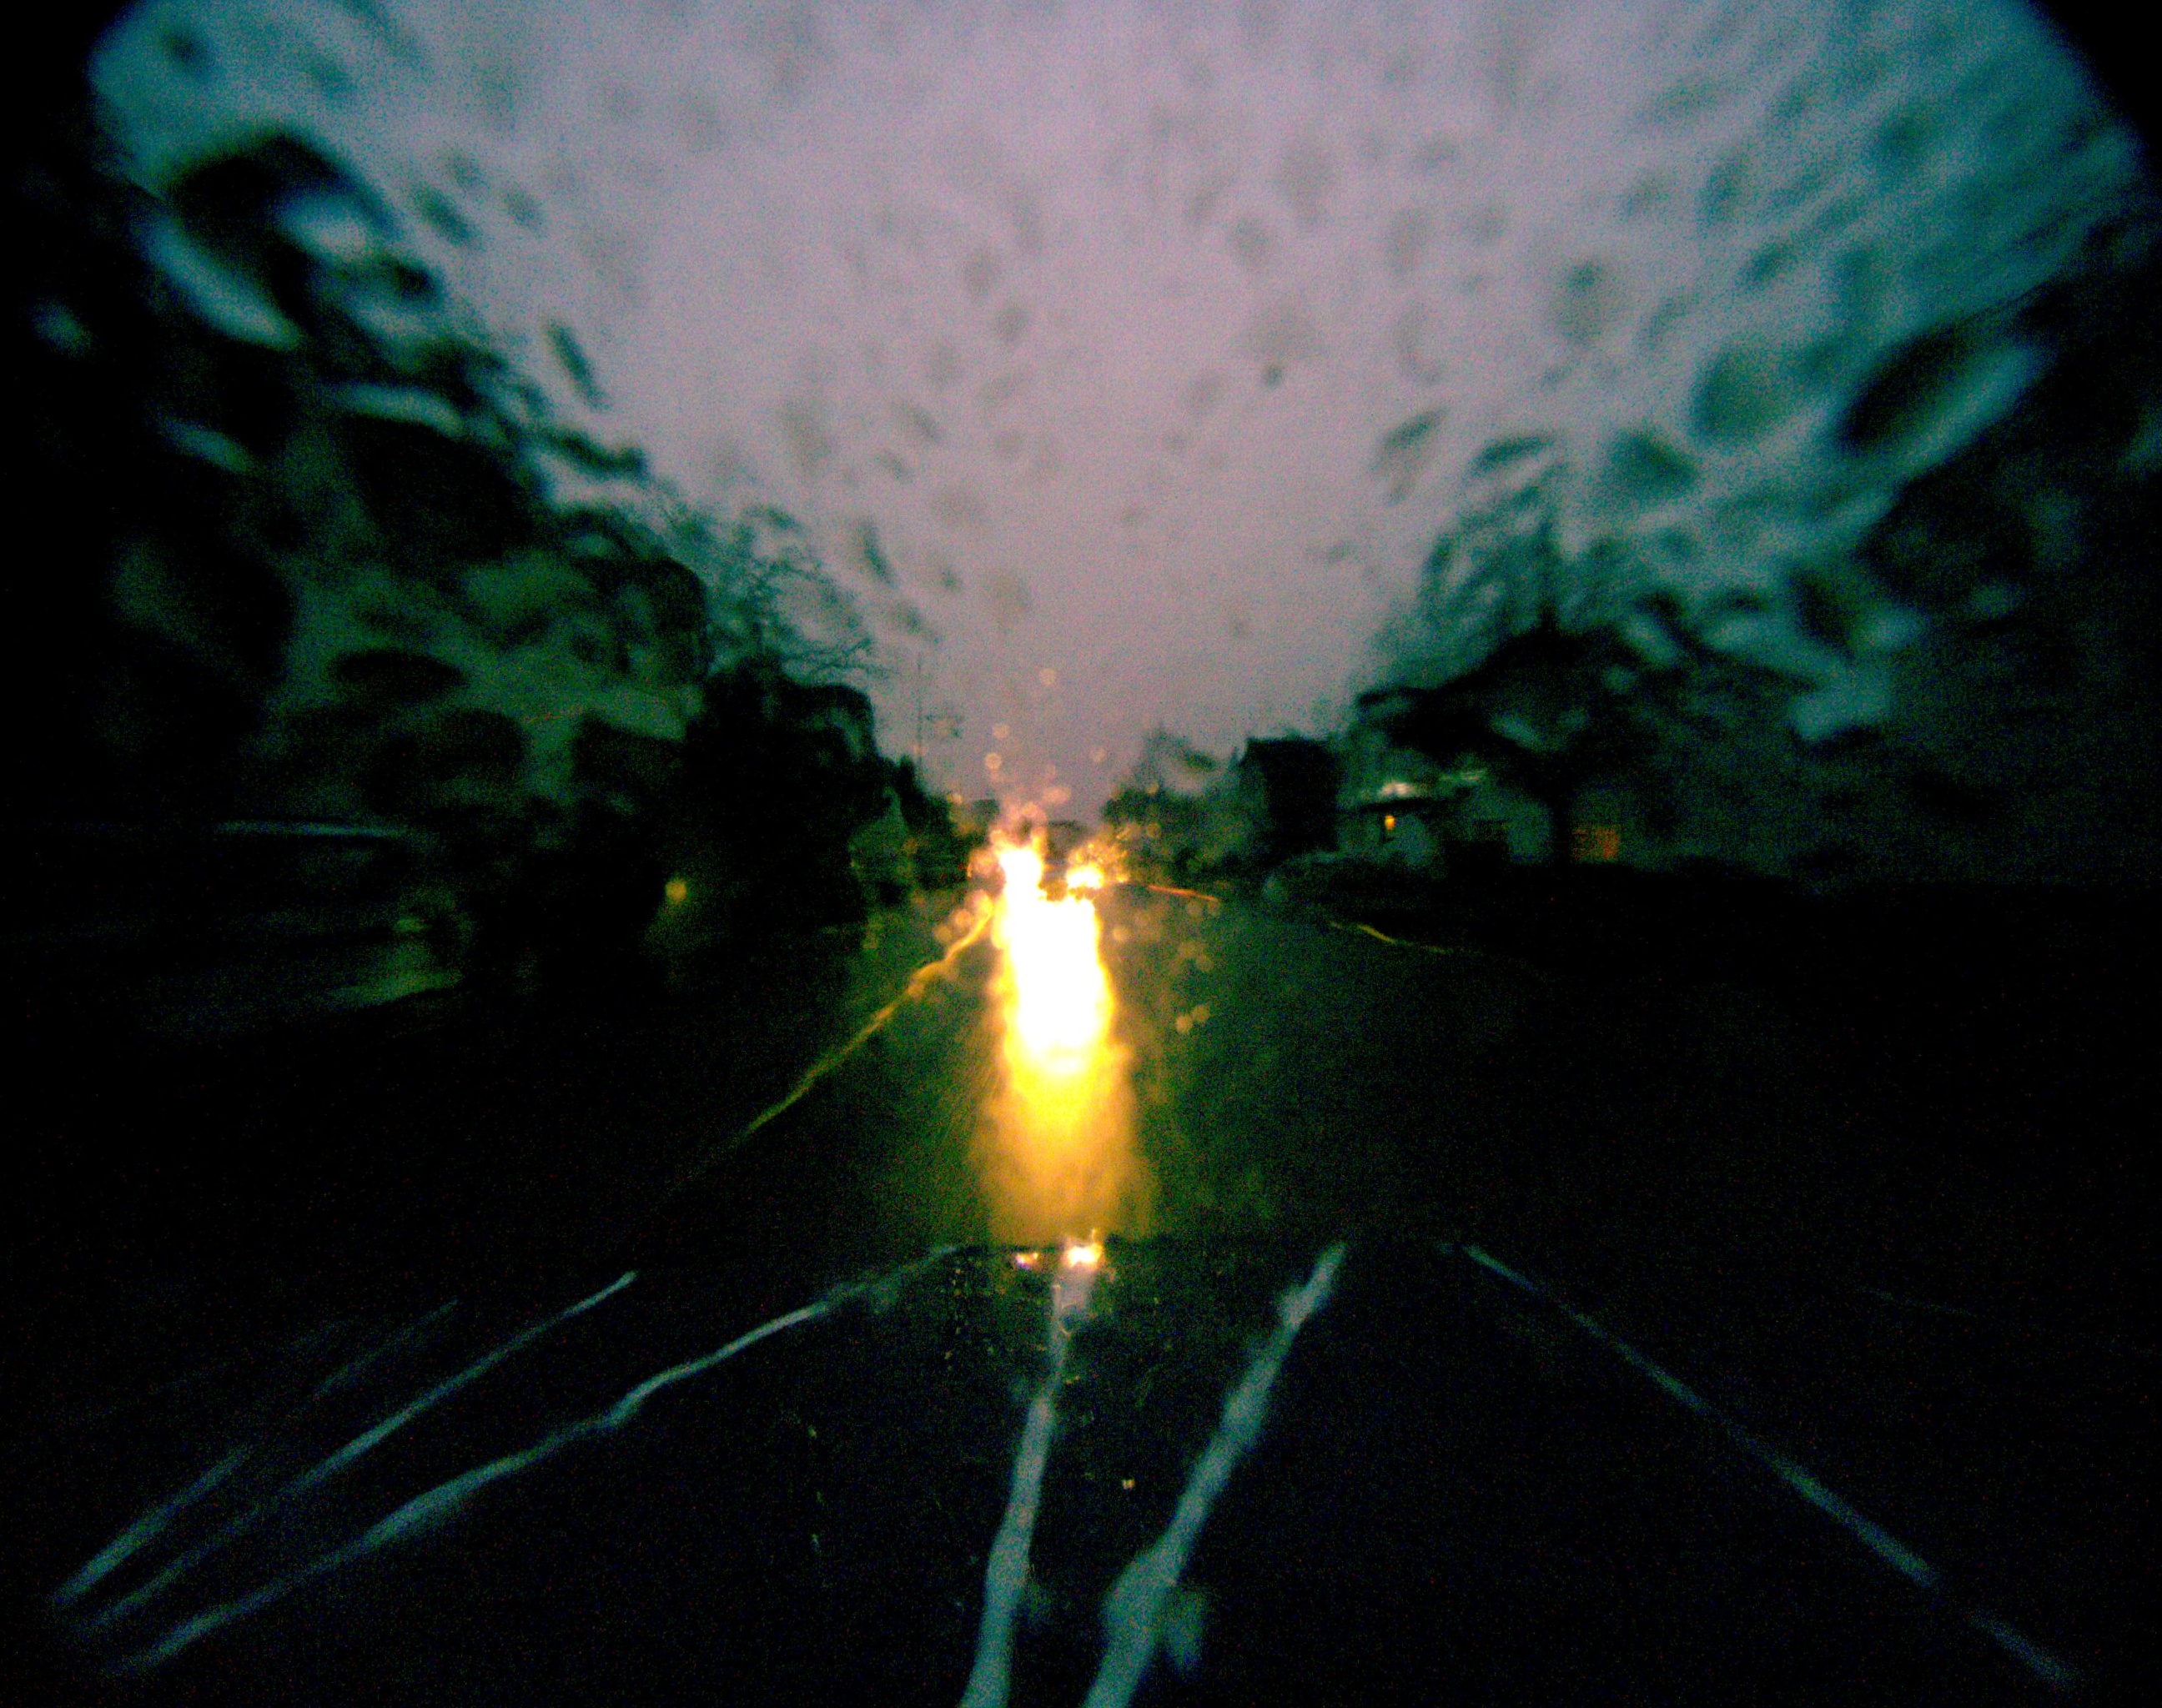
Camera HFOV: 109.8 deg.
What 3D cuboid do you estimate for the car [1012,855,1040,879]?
[{"bbox_3d":[-4.024,0.931,55.817,1.999,1.660,3.999,-1,0,-4],"label":"car"}]

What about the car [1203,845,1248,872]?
[{"bbox_3d":[10.033,0.284,52.997,1.999,1.745,4.566,0,0,-4],"label":"car"}]

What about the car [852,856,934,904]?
[{"bbox_3d":[-6.583,0.858,27.077,1.898,1.545,4.754,-1,0,-2],"label":"car"}]

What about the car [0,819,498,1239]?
[{"bbox_3d":[-6.058,0.669,3.984,4.335,1.722,1.999,2,0,-4],"label":"car"}]

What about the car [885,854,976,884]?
[{"bbox_3d":[-8.424,0.826,42.773,4.747,1.620,1.906,0,1,-2],"label":"car"}]

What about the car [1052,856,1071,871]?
[{"bbox_3d":[-2.194,1.065,83.949,1.819,1.623,4.222,1,0,-5],"label":"car"}]

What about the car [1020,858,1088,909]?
[{"bbox_3d":[-0.994,0.922,25.432,2.000,1.575,3.998,0,0,-6],"label":"car"}]

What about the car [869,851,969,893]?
[{"bbox_3d":[-7.105,0.766,33.777,4.114,1.696,1.999,-1,1,-6],"label":"car"}]

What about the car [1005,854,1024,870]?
[{"bbox_3d":[-7.387,0.880,84.018,1.777,1.608,3.869,-2,1,-9],"label":"car"}]
